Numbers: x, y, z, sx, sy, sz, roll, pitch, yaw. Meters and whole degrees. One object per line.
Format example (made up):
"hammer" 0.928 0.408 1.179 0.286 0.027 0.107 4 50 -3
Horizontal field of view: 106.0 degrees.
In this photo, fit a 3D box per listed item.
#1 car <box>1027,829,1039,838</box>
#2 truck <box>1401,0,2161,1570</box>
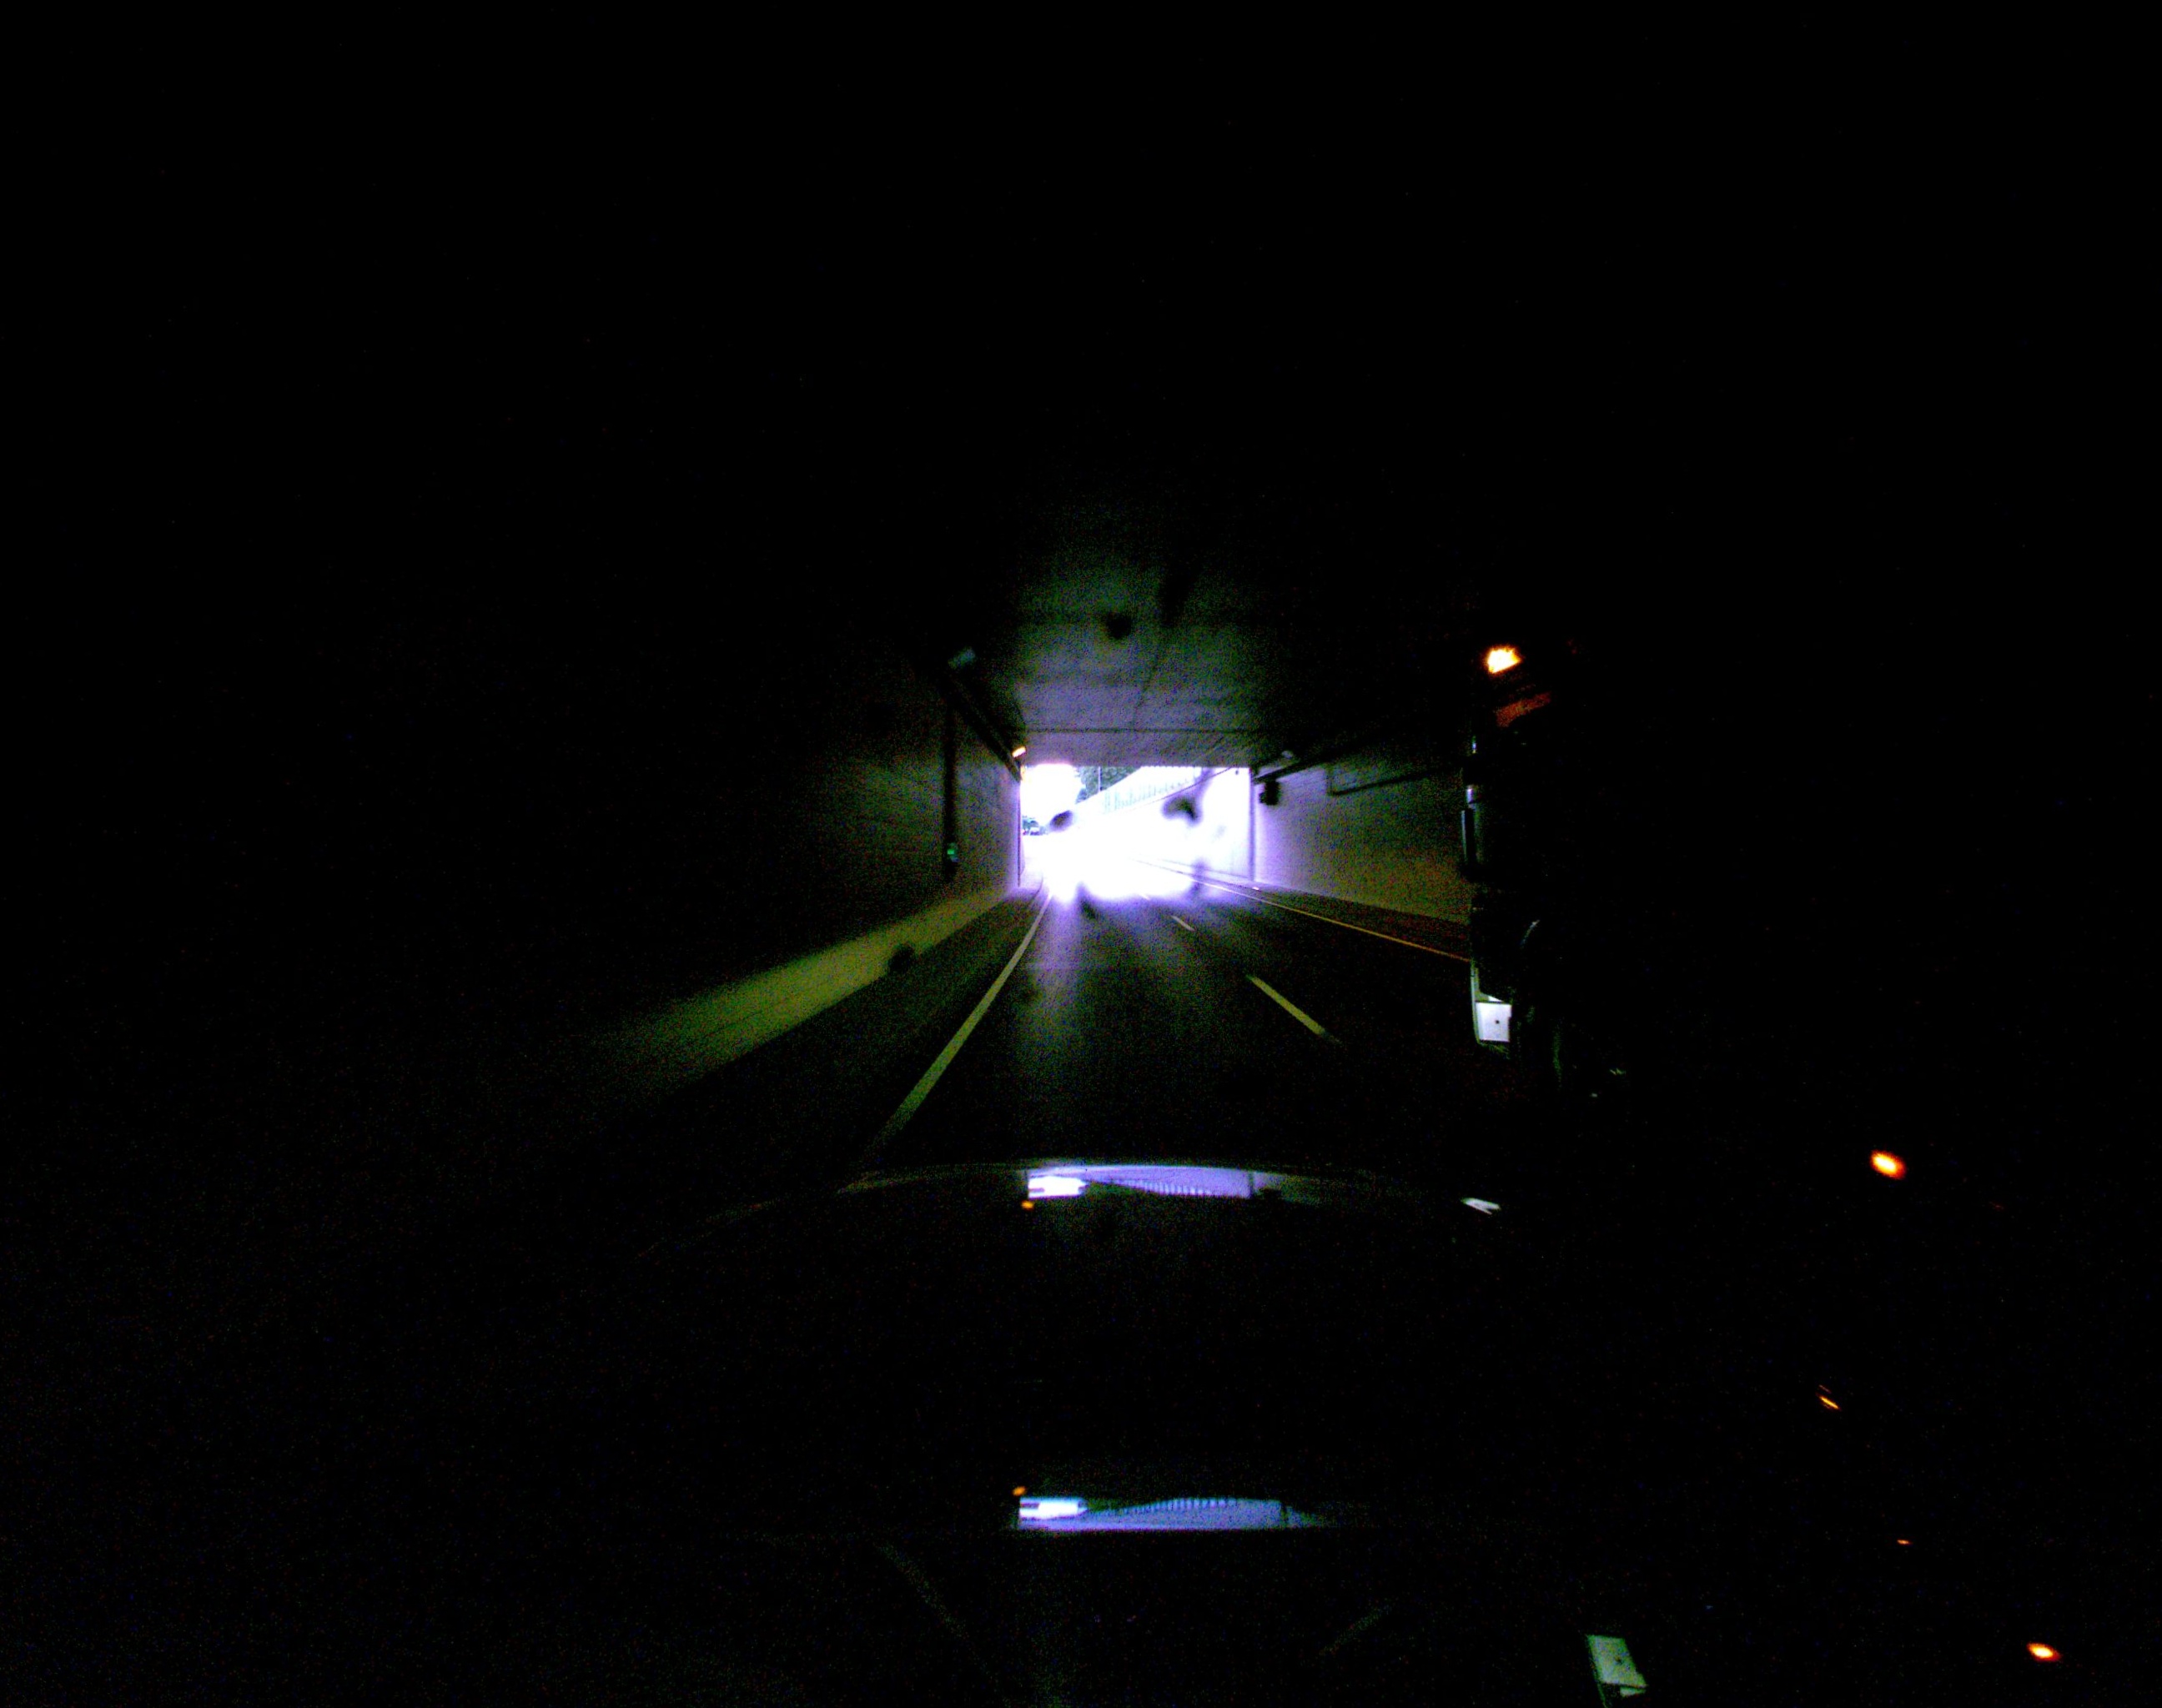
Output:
"car" -9.029 -3.880 154.302 1.869 1.732 3.986 0 0 -10
"truck" 3.485 -0.587 0.435 2.879 3.913 9.910 0 0 1
